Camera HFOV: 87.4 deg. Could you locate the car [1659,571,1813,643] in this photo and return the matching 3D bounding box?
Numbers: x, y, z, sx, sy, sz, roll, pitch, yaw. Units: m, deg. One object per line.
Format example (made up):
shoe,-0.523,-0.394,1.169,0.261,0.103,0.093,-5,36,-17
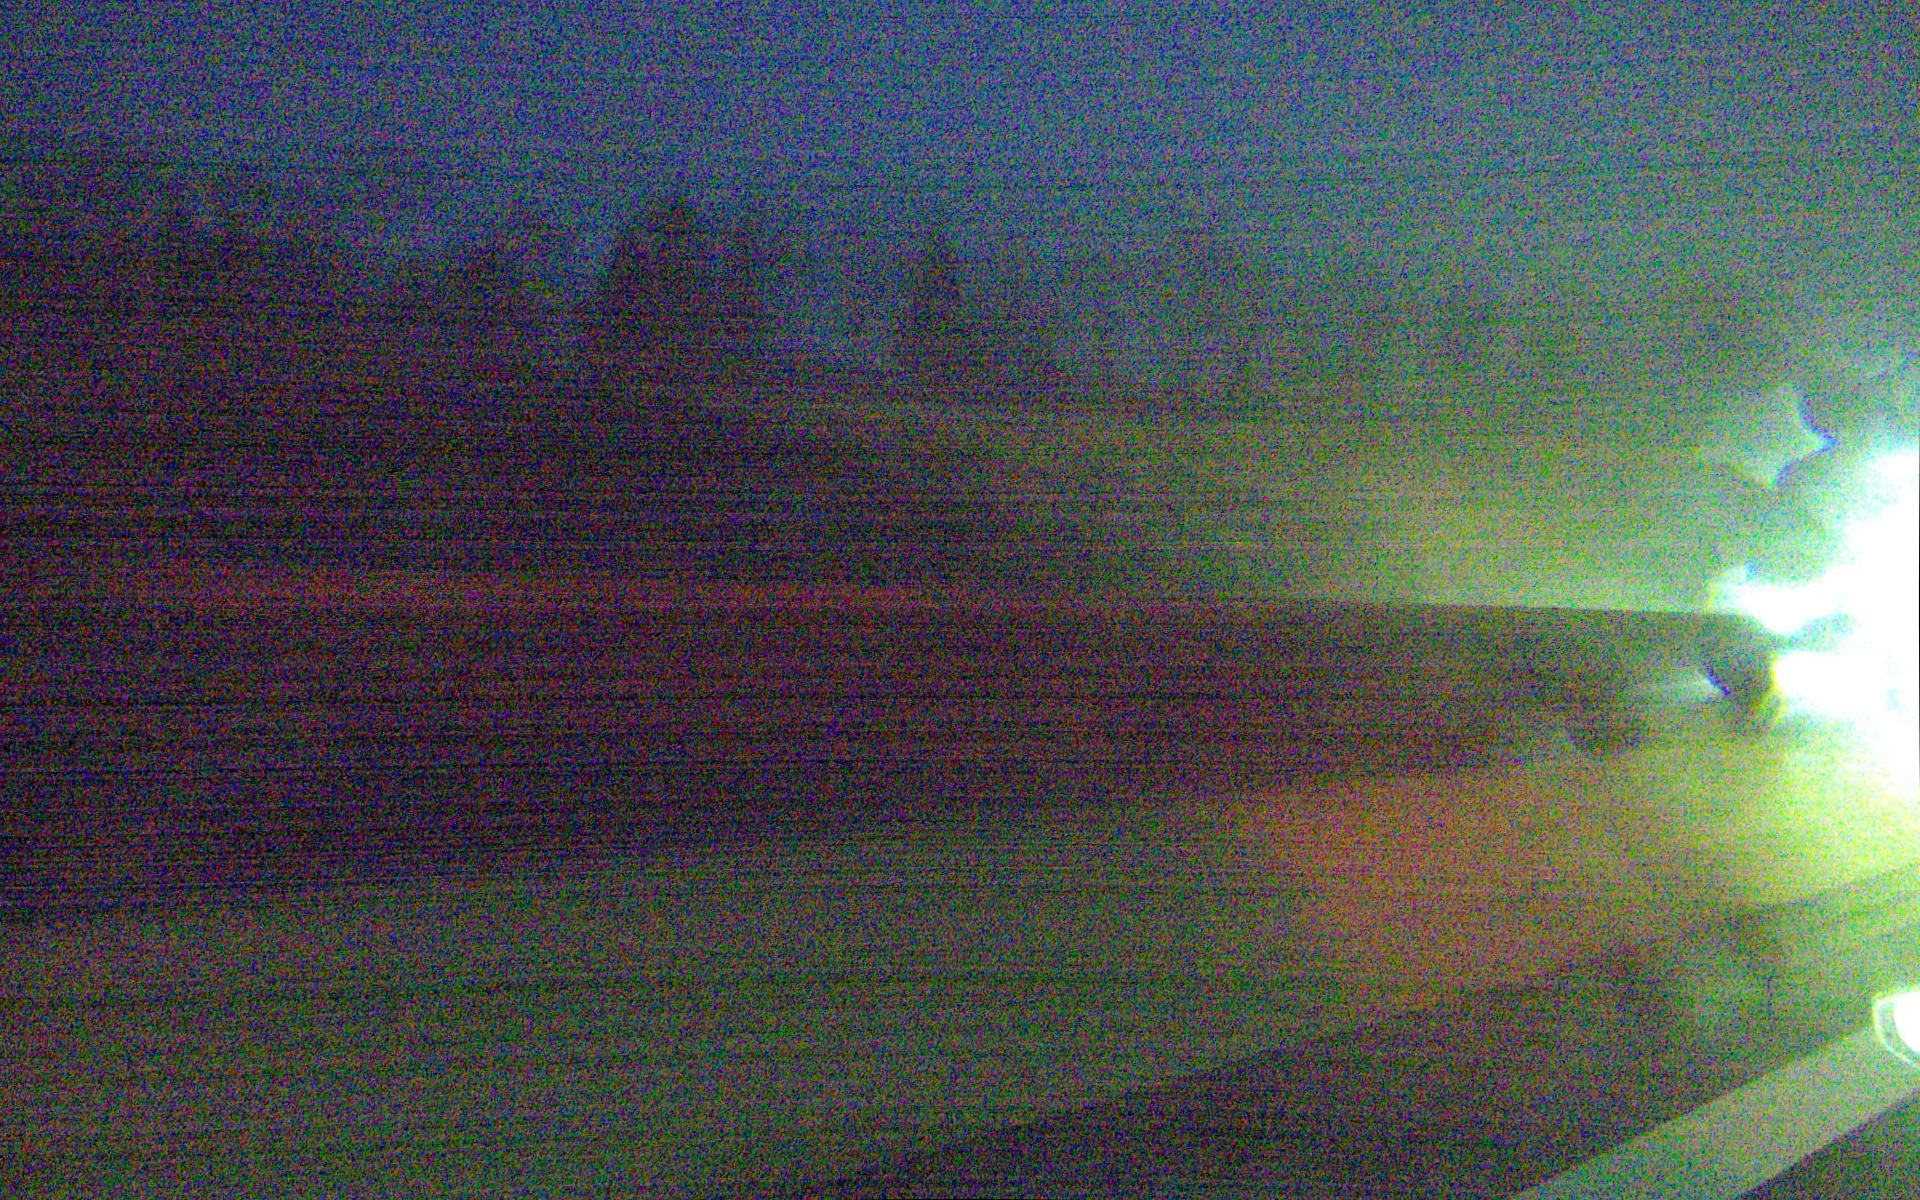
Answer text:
car,21.026,0.153,27.207,3.956,1.686,1.982,0,5,-32
